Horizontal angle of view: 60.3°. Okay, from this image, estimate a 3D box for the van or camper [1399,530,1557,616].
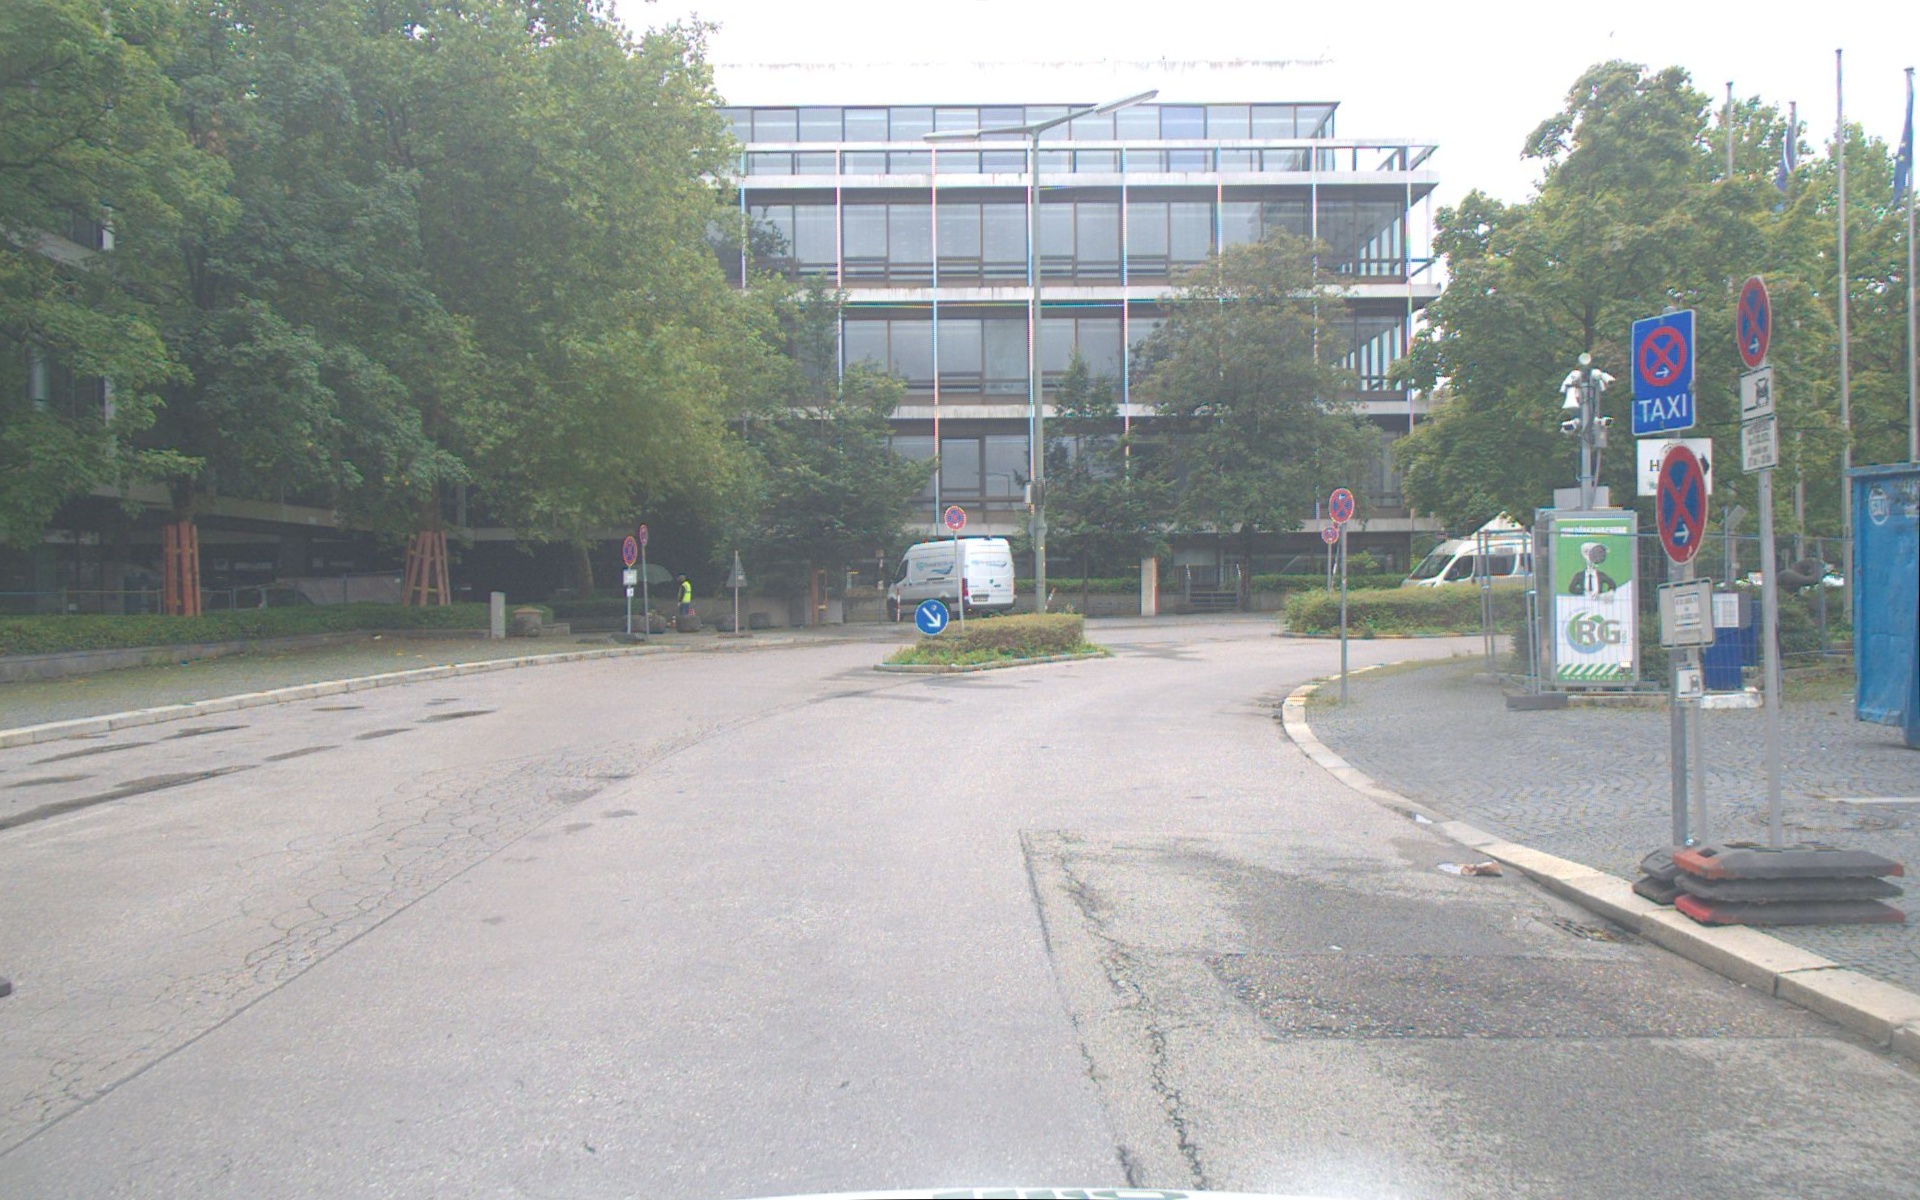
[{"bbox_3d":[16.547,-0.863,52.898,4.371,2.630,2.102,-1,1,-12],"label":"van or camper"}]

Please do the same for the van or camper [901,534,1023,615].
[{"bbox_3d":[-0.005,-0.841,55.102,2.060,2.535,5.025,-1,1,-26],"label":"van or camper"}]

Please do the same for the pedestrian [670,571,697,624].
[{"bbox_3d":[-8.985,-0.096,53.689,0.730,1.706,0.678,-1,0,-20],"label":"pedestrian"}]
